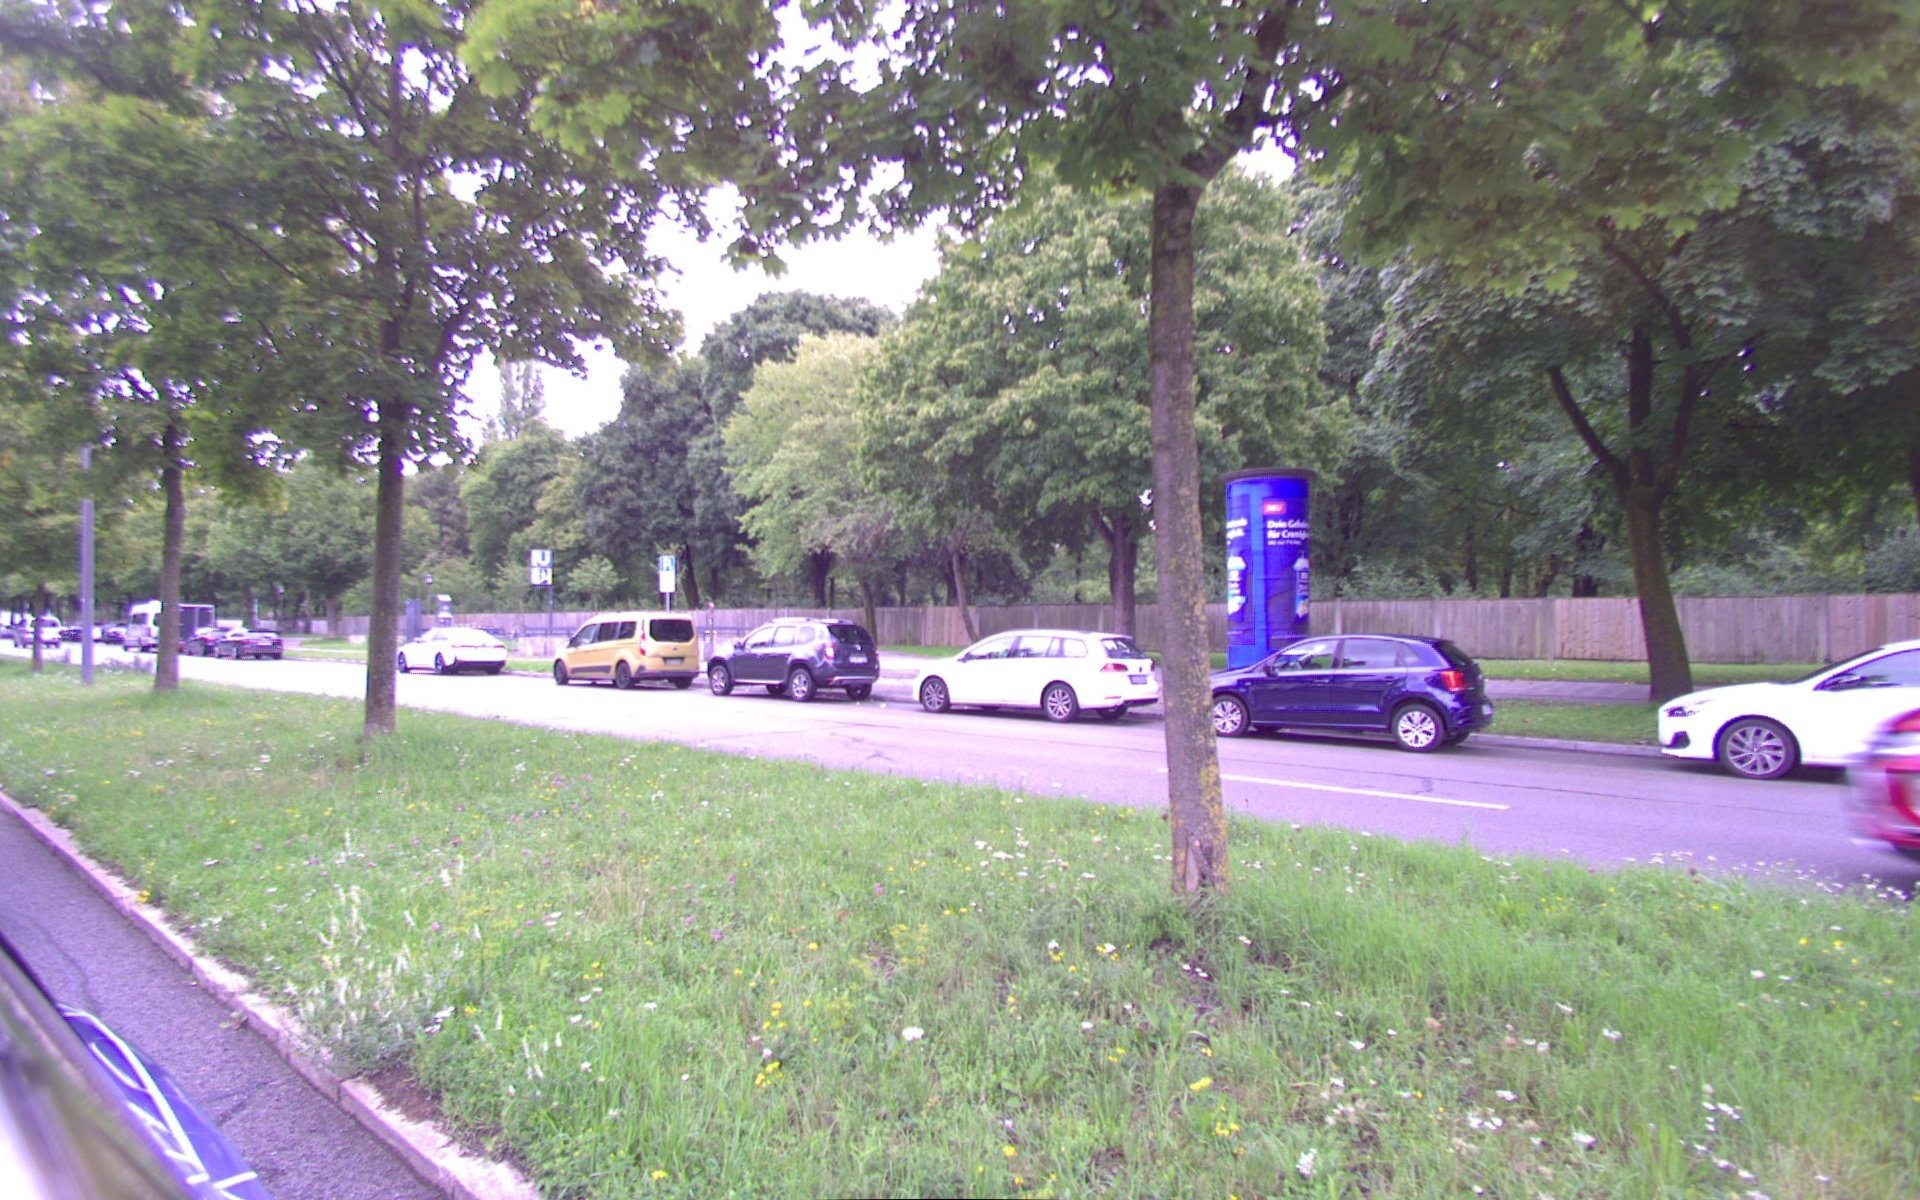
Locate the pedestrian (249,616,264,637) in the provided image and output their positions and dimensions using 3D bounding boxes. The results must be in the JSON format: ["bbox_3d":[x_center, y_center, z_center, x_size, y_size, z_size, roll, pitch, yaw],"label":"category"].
[{"bbox_3d":[-59.364,2.226,85.361,0.872,1.781,0.761,-1,-2,37],"label":"pedestrian"}]

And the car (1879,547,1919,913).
[{"bbox_3d":[6.674,0.611,4.103,4.242,1.709,1.884,-1,-4,40],"label":"car"}]

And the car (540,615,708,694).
[{"bbox_3d":[-8.482,1.335,25.313,4.816,1.796,1.795,-2,-3,42],"label":"car"}]

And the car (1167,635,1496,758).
[{"bbox_3d":[4.924,1.198,13.688,3.892,1.428,1.597,-1,-3,38],"label":"car"}]

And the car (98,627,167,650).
[{"bbox_3d":[-63.681,2.937,77.953,1.779,1.497,3.993,-2,0,6],"label":"car"}]

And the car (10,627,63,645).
[{"bbox_3d":[-96.706,3.743,106.014,1.760,1.741,3.992,-1,0,6],"label":"car"}]

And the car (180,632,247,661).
[{"bbox_3d":[-37.140,2.304,50.336,4.235,1.394,1.781,-2,-3,41],"label":"car"}]

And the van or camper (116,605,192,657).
[{"bbox_3d":[-46.287,1.799,58.047,7.542,2.859,2.014,-2,-3,41],"label":"van or camper"}]

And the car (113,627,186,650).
[{"bbox_3d":[-61.094,2.877,76.399,1.779,1.585,4.316,-1,0,6],"label":"car"}]

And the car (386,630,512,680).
[{"bbox_3d":[-16.480,1.738,32.548,4.871,1.484,1.838,-2,-3,40],"label":"car"}]

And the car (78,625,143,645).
[{"bbox_3d":[-72.586,2.961,86.530,1.722,1.466,3.984,-2,0,13],"label":"car"}]

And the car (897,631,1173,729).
[{"bbox_3d":[1.173,1.271,17.239,4.529,1.461,1.744,-2,-3,40],"label":"car"}]

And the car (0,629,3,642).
[{"bbox_3d":[-114.974,4.217,120.079,4.170,1.454,1.864,-1,0,45],"label":"car"}]

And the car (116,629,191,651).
[{"bbox_3d":[-58.635,2.878,73.639,1.779,1.449,4.316,-1,0,6],"label":"car"}]

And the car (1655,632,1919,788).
[{"bbox_3d":[9.559,1.058,10.000,4.276,1.455,1.590,-2,-3,41],"label":"car"}]

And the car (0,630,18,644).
[{"bbox_3d":[-105.947,4.113,112.360,4.170,1.454,1.864,-1,0,45],"label":"car"}]

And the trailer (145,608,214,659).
[{"bbox_3d":[-41.728,1.794,54.064,4.656,2.610,1.996,-2,-3,41],"label":"trailer"}]

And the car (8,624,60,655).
[{"bbox_3d":[-59.408,2.507,64.923,4.990,1.948,1.781,-1,-3,40],"label":"car"}]

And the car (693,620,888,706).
[{"bbox_3d":[-3.656,1.284,21.430,4.252,1.658,1.719,-2,-3,40],"label":"car"}]

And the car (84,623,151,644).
[{"bbox_3d":[-70.317,2.785,84.501,1.872,1.474,3.984,-2,0,13],"label":"car"}]

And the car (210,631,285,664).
[{"bbox_3d":[-32.437,2.138,46.030,4.428,1.436,1.781,-2,-3,41],"label":"car"}]
